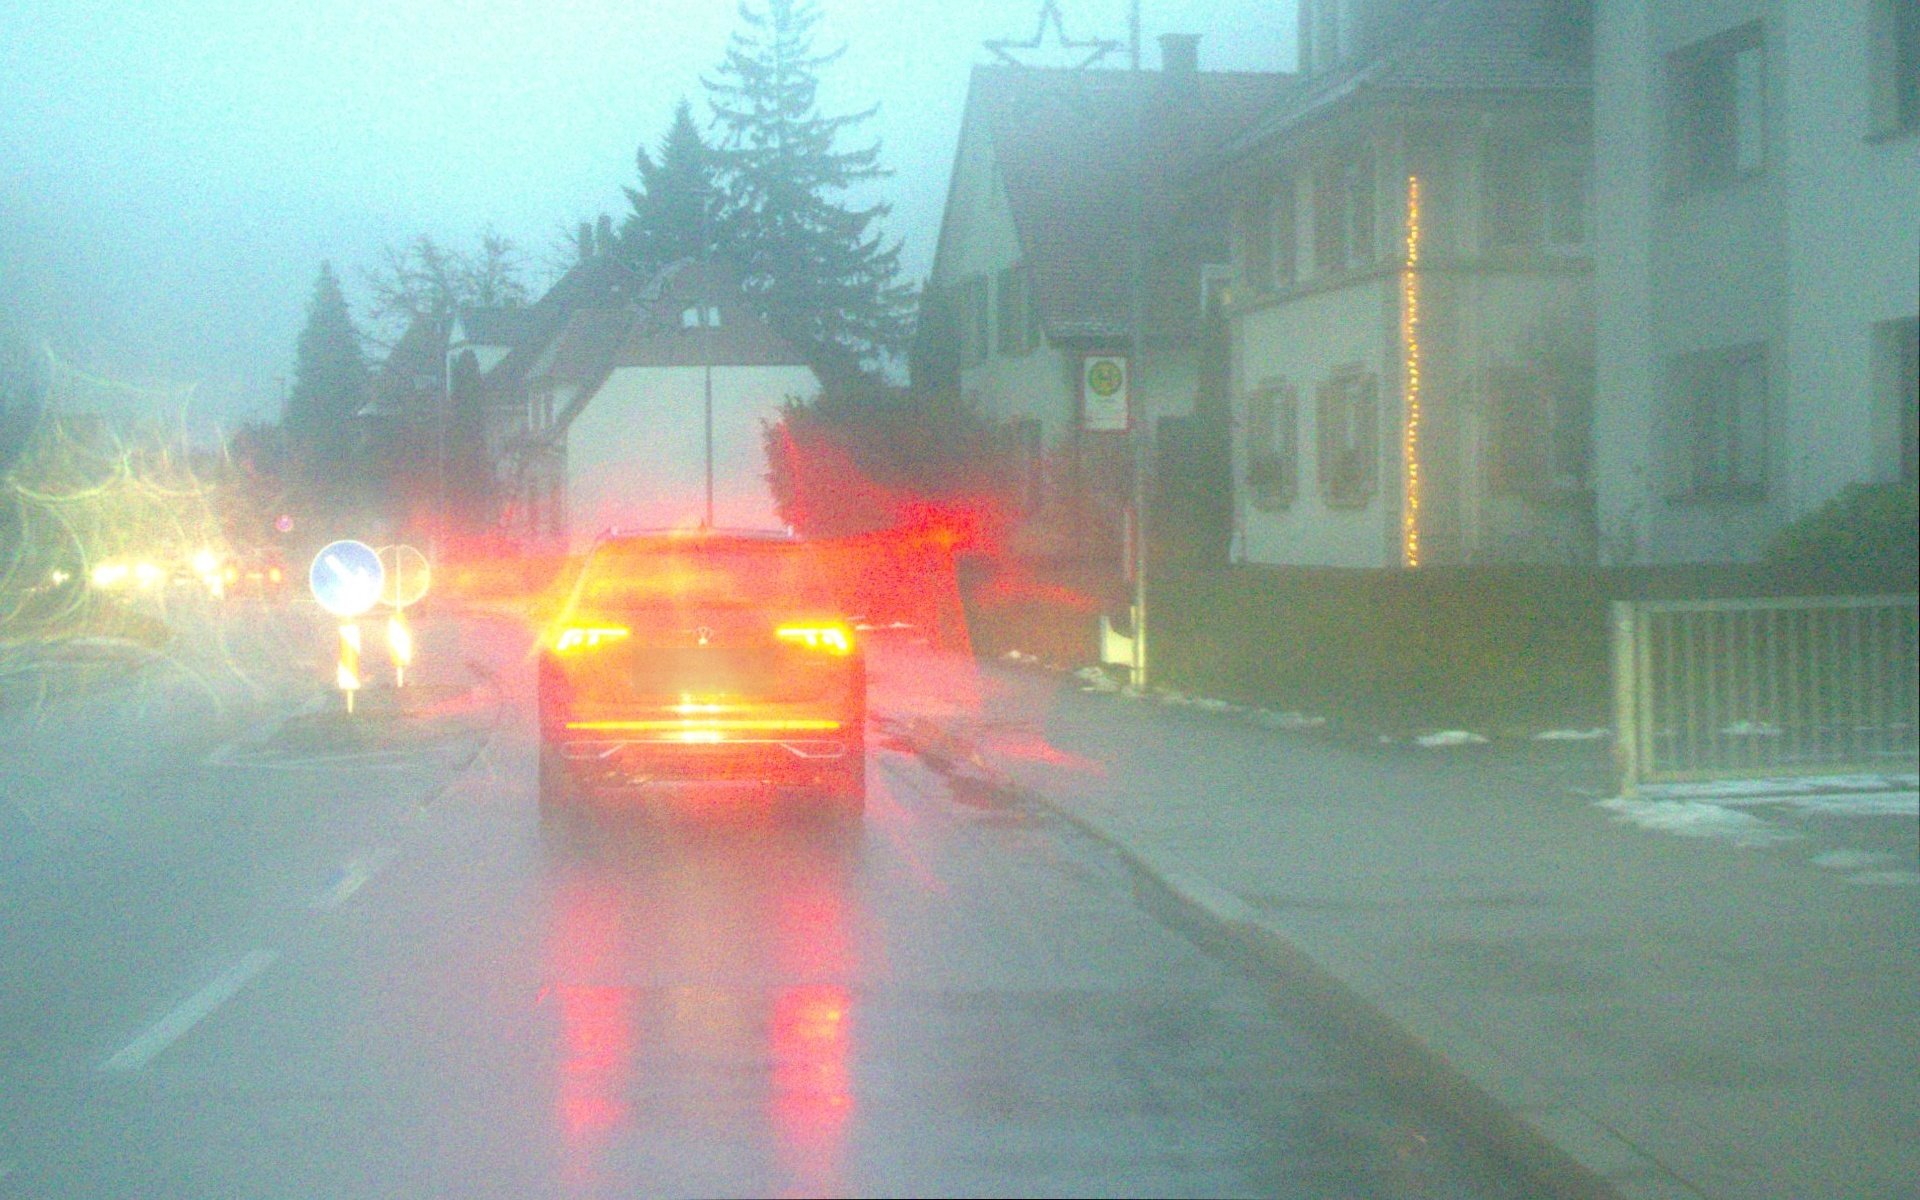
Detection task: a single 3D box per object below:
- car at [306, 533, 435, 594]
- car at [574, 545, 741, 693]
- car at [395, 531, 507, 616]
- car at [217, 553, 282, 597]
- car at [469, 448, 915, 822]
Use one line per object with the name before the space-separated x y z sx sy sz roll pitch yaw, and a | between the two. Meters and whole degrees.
car | -20.332 -1.269 118.542 4.245 2.007 1.811 -1 1 -13
car | -3.649 0.189 40.988 1.857 1.641 4.001 0 1 -7
car | -12.101 -0.616 81.477 2.309 1.932 5.019 -1 0 -12
car | -22.352 -0.800 108.139 1.842 1.327 3.939 -1 1 -14
car | -1.589 0.162 20.531 2.309 1.932 5.019 -1 0 -4
